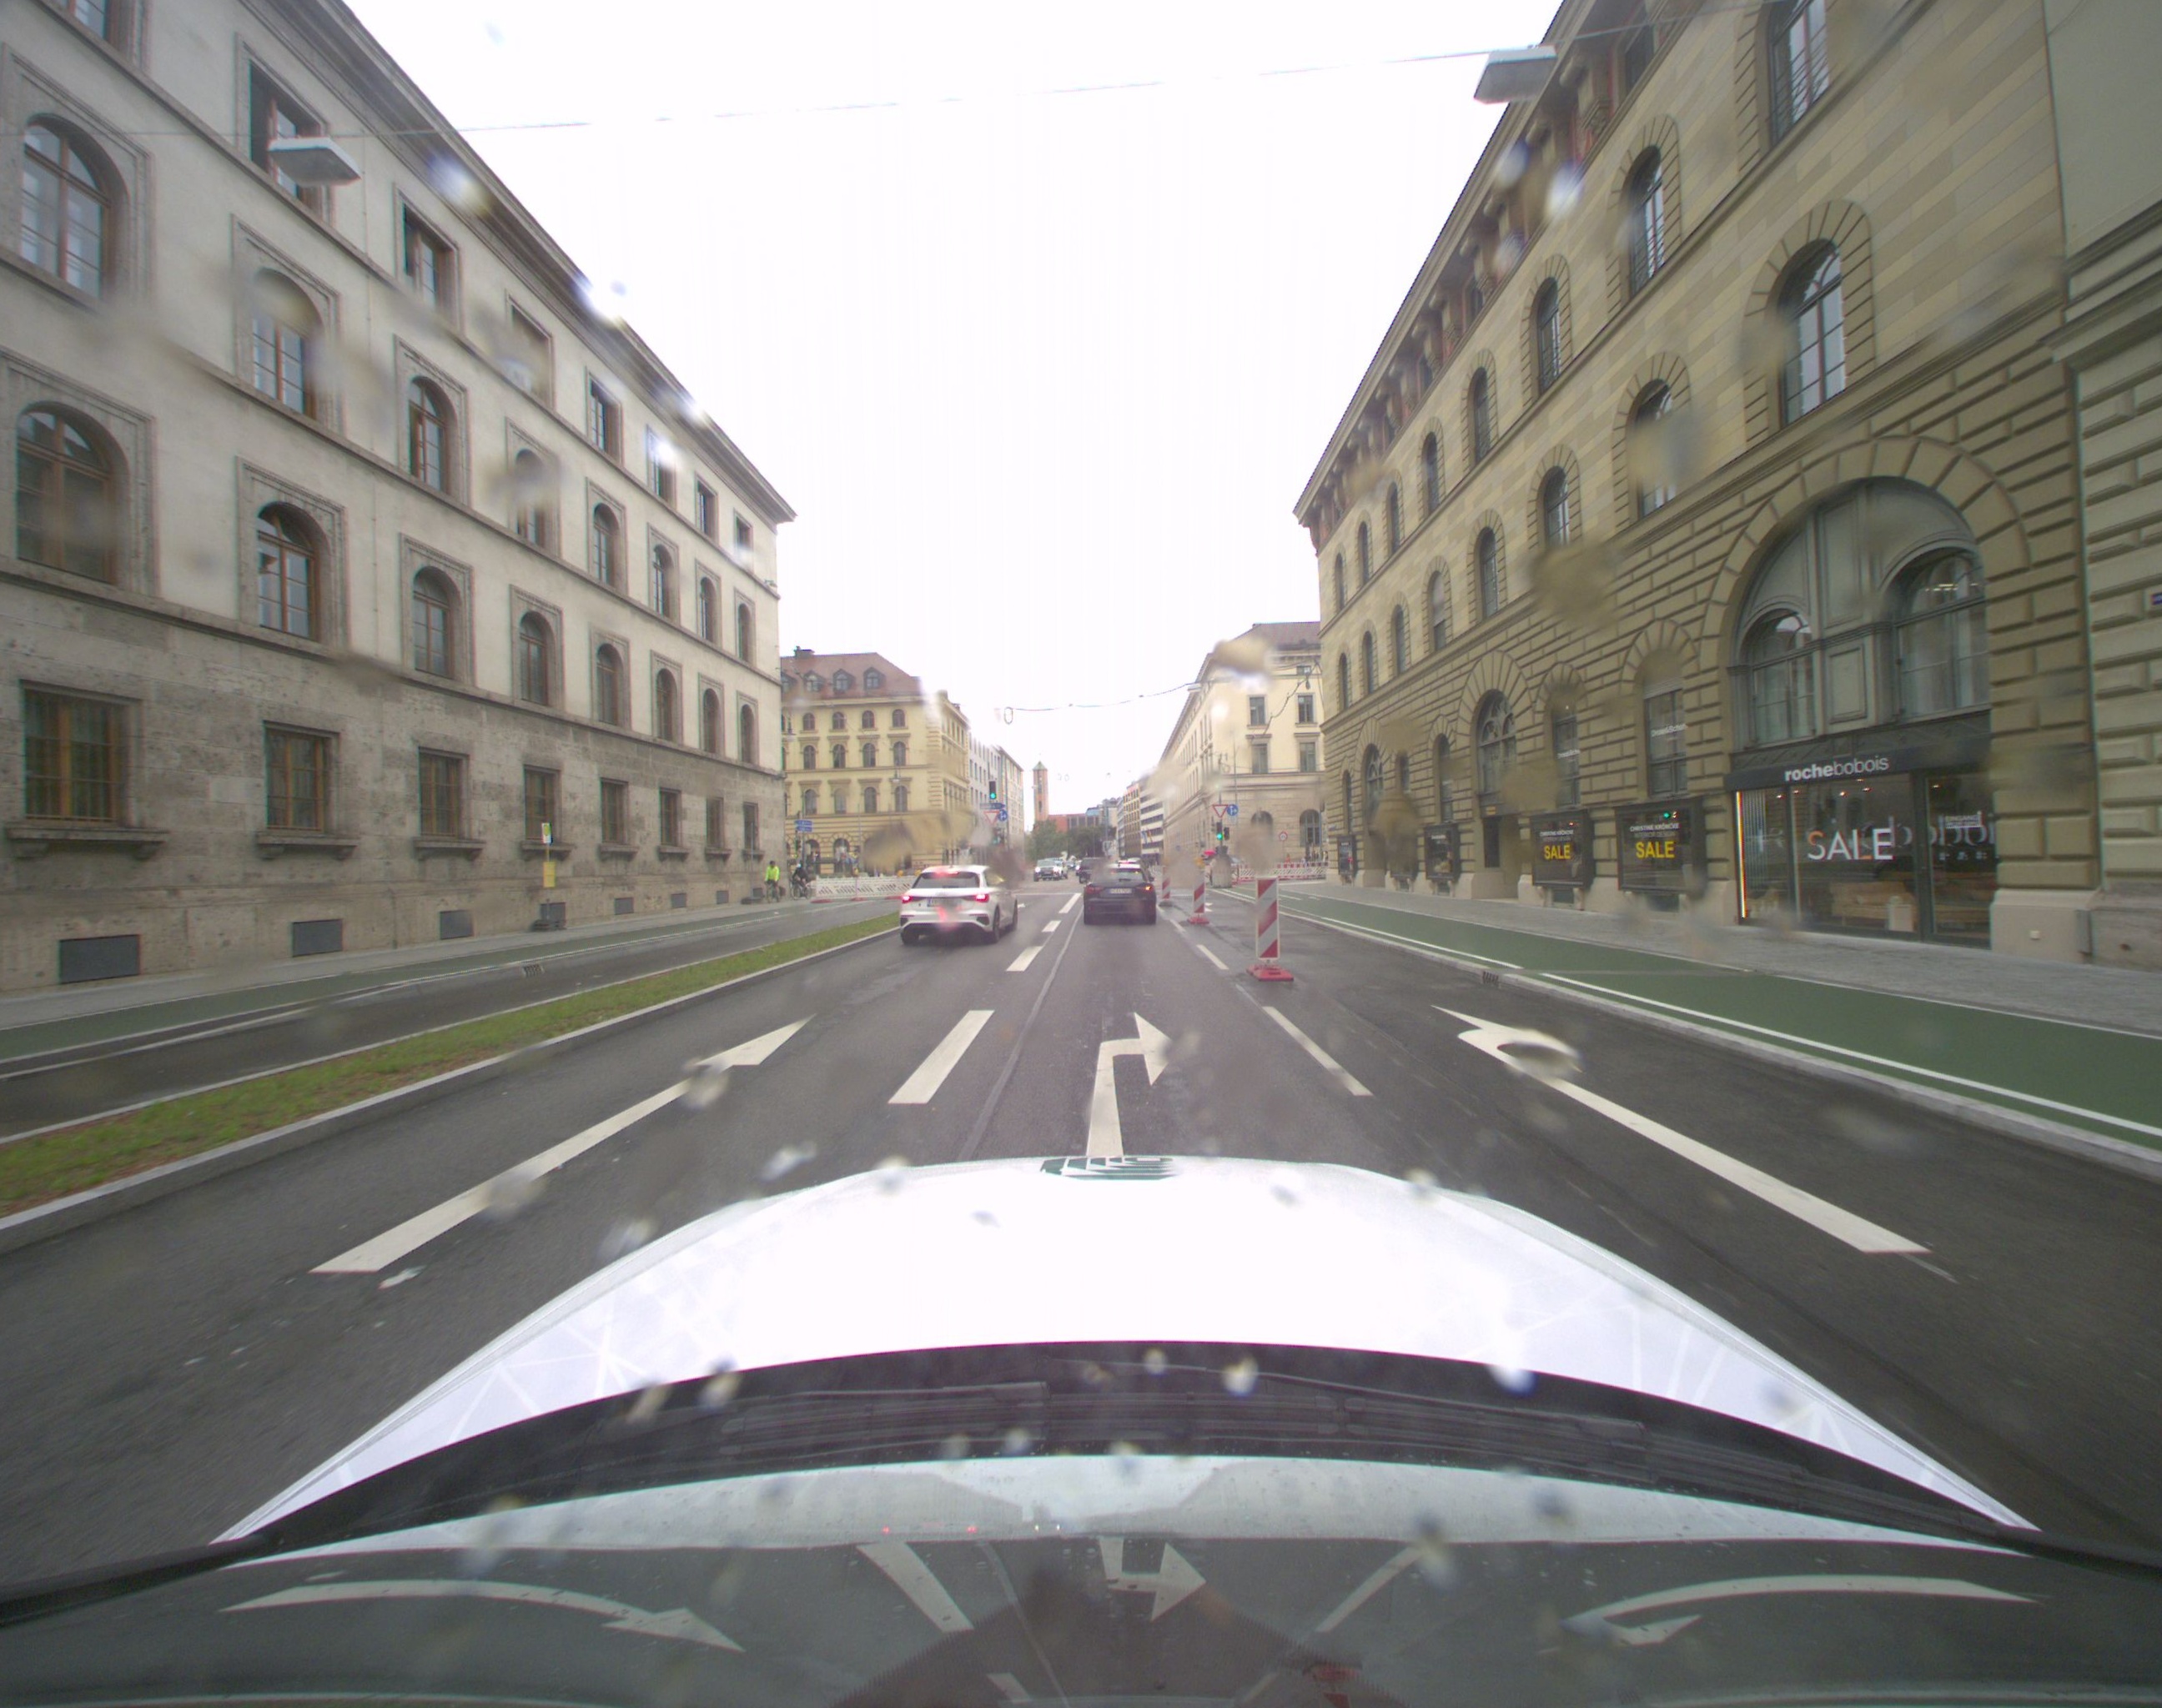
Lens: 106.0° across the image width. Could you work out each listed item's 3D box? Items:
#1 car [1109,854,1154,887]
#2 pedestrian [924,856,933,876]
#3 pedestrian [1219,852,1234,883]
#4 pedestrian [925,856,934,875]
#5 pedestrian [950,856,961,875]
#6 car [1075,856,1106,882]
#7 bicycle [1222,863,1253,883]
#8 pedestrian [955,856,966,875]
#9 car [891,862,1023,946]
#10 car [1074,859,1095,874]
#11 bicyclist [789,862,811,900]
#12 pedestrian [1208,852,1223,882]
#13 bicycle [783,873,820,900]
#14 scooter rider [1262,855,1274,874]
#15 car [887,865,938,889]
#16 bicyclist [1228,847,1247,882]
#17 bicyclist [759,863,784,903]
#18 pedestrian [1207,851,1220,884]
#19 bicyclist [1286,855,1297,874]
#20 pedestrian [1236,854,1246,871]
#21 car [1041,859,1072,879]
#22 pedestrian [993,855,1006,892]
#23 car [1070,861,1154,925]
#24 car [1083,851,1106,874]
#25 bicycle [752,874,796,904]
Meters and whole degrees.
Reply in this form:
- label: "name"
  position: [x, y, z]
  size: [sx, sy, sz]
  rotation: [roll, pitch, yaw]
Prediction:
- label: "car"
  position: [2.715, 0.836, 43.076]
  size: [1.757, 1.617, 4.013]
  rotation: [-1, 0, 12]
- label: "pedestrian"
  position: [-14.003, 1.090, 74.841]
  size: [0.733, 1.772, 0.737]
  rotation: [-1, -1, -8]
- label: "pedestrian"
  position: [7.393, 0.676, 41.435]
  size: [0.699, 1.567, 0.682]
  rotation: [-1, -1, 4]
- label: "pedestrian"
  position: [-14.082, 1.079, 75.585]
  size: [0.733, 1.772, 0.737]
  rotation: [-1, -1, -8]
- label: "pedestrian"
  position: [-11.673, 1.084, 75.777]
  size: [0.727, 1.772, 0.765]
  rotation: [-1, -1, 23]
- label: "car"
  position: [0.660, 0.943, 52.757]
  size: [1.858, 1.601, 3.852]
  rotation: [-2, 0, 1]
- label: "bicycle"
  position: [8.398, 1.005, 43.759]
  size: [0.589, 1.011, 1.638]
  rotation: [0, -1, -38]
- label: "pedestrian"
  position: [-11.347, 1.096, 76.488]
  size: [0.727, 1.772, 0.743]
  rotation: [-1, -1, 23]
- label: "car"
  position: [-2.316, 0.900, 16.401]
  size: [1.806, 1.425, 4.454]
  rotation: [-1, 0, 2]
- label: "car"
  position: [0.394, 1.319, 86.137]
  size: [1.986, 1.524, 4.234]
  rotation: [-2, 0, 1]
- label: "bicyclist"
  position: [-13.541, 1.293, 39.240]
  size: [0.794, 1.776, 0.690]
  rotation: [-1, -1, 5]
- label: "pedestrian"
  position: [6.975, 0.678, 42.309]
  size: [0.699, 1.567, 0.542]
  rotation: [-1, -1, 4]
- label: "bicycle"
  position: [-13.523, 1.553, 39.469]
  size: [0.783, 1.242, 2.203]
  rotation: [-1, 0, 6]
- label: "scooter rider"
  position: [15.853, 0.902, 68.969]
  size: [0.928, 1.622, 0.593]
  rotation: [-1, -1, 3]
- label: "car"
  position: [-13.558, 1.836, 65.431]
  size: [3.752, 1.798, 1.856]
  rotation: [-2, -1, -19]
- label: "bicyclist"
  position: [8.394, 0.585, 43.764]
  size: [0.570, 1.854, 0.790]
  rotation: [0, -1, -38]
- label: "bicyclist"
  position: [-13.840, 1.271, 36.408]
  size: [0.794, 1.748, 0.690]
  rotation: [-1, -1, 5]
- label: "pedestrian"
  position: [6.557, 0.661, 40.309]
  size: [0.529, 1.620, 0.674]
  rotation: [-1, -1, 4]
- label: "bicyclist"
  position: [18.067, 0.901, 69.986]
  size: [0.740, 1.615, 0.796]
  rotation: [-1, -1, 4]
- label: "pedestrian"
  position: [14.539, 0.792, 73.923]
  size: [0.812, 1.557, 0.669]
  rotation: [-1, -1, 9]
- label: "car"
  position: [-2.151, 1.308, 73.988]
  size: [1.781, 1.677, 4.247]
  rotation: [-2, 0, 12]
- label: "pedestrian"
  position: [-4.004, 0.950, 39.983]
  size: [0.512, 1.743, 1.040]
  rotation: [-2, -1, -8]
- label: "car"
  position: [0.759, 0.905, 20.392]
  size: [1.856, 1.388, 4.001]
  rotation: [-1, 0, 2]
- label: "car"
  position: [1.227, 0.756, 73.881]
  size: [1.986, 2.013, 4.001]
  rotation: [-2, 0, 1]
- label: "bicycle"
  position: [-13.809, 1.545, 36.690]
  size: [0.783, 1.242, 2.453]
  rotation: [-1, 0, 6]
